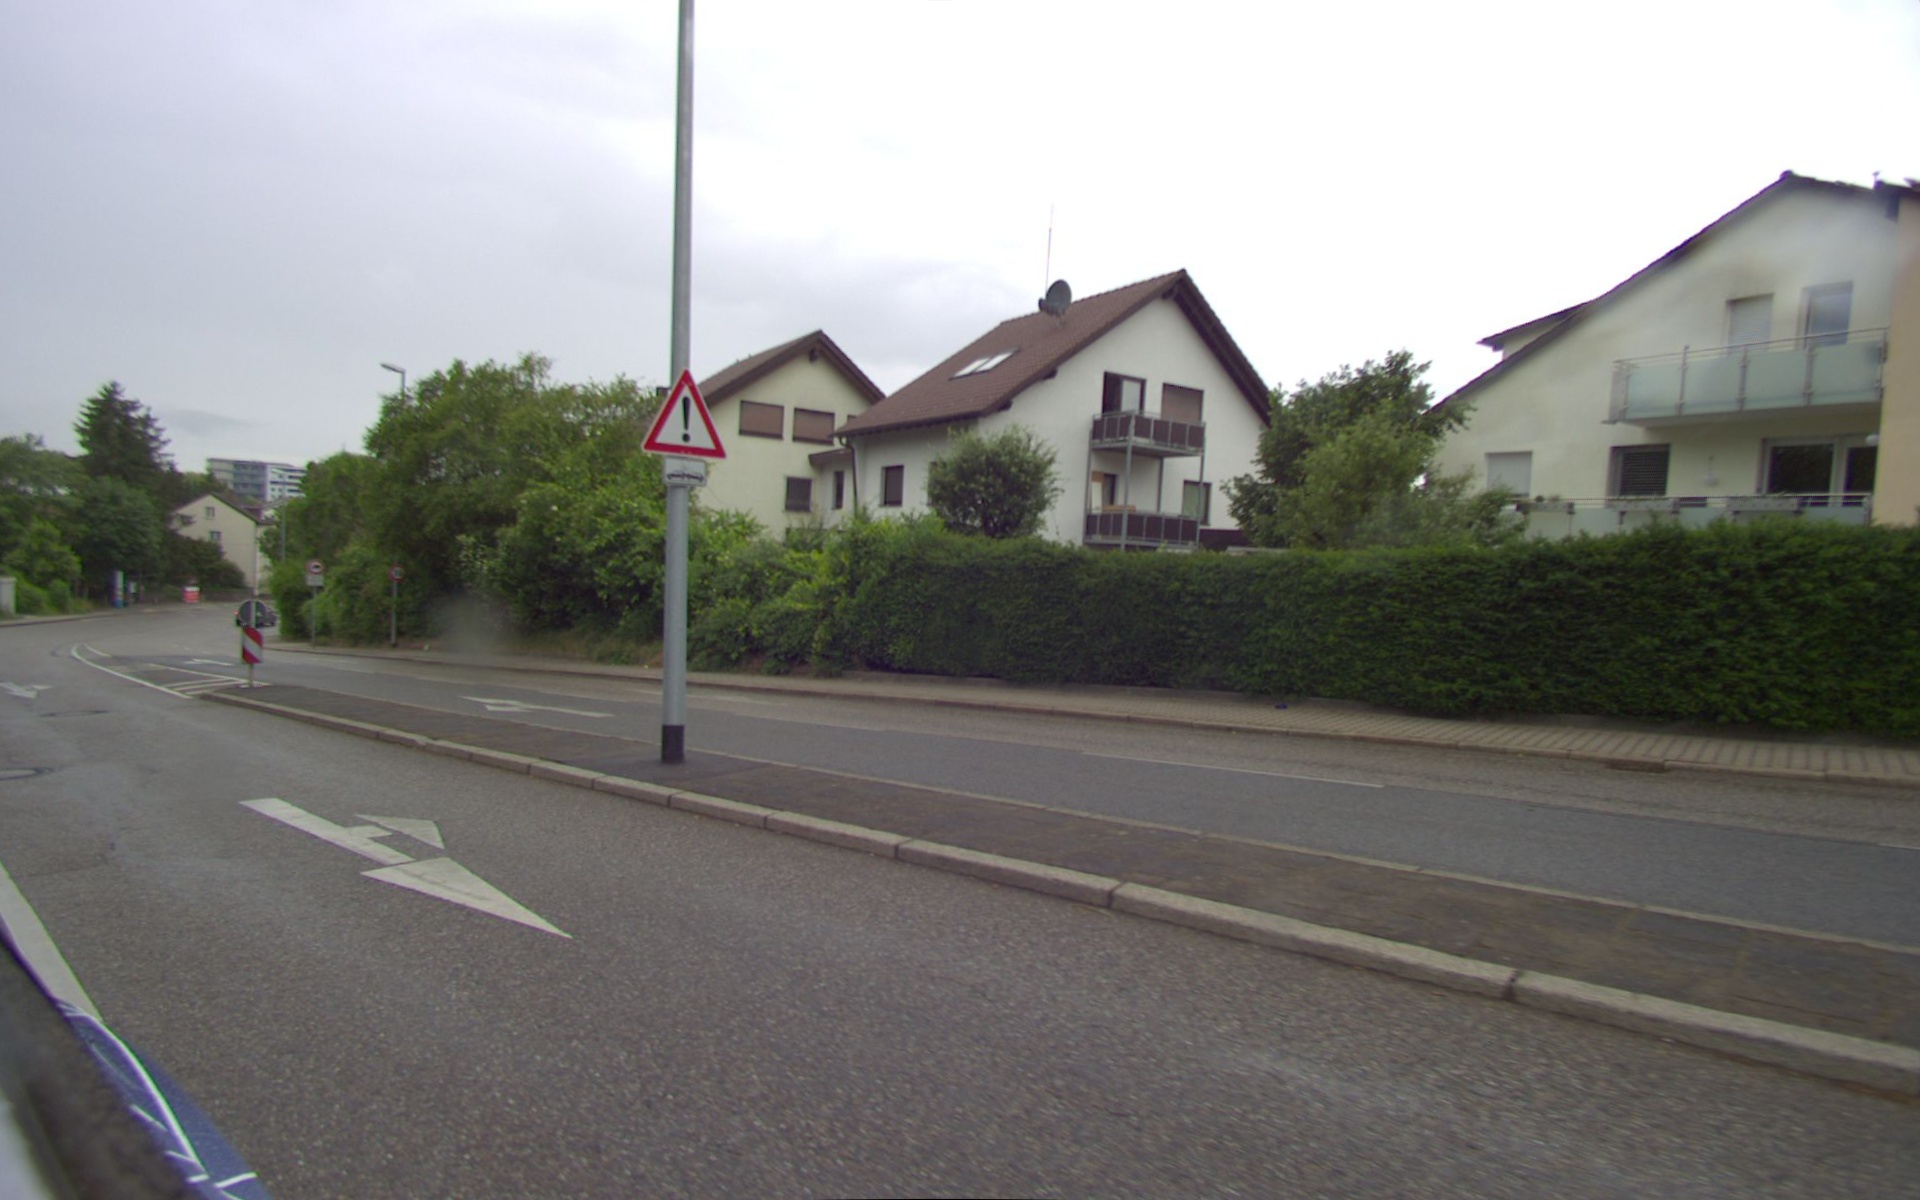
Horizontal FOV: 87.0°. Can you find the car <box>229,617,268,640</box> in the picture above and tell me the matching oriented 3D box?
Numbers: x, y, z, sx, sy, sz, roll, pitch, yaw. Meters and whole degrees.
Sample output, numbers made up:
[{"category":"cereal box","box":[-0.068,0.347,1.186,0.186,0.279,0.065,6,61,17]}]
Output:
[{"category":"car","box":[-59.996,2.422,85.361,1.928,1.860,4.013,3,-2,-25]}]
